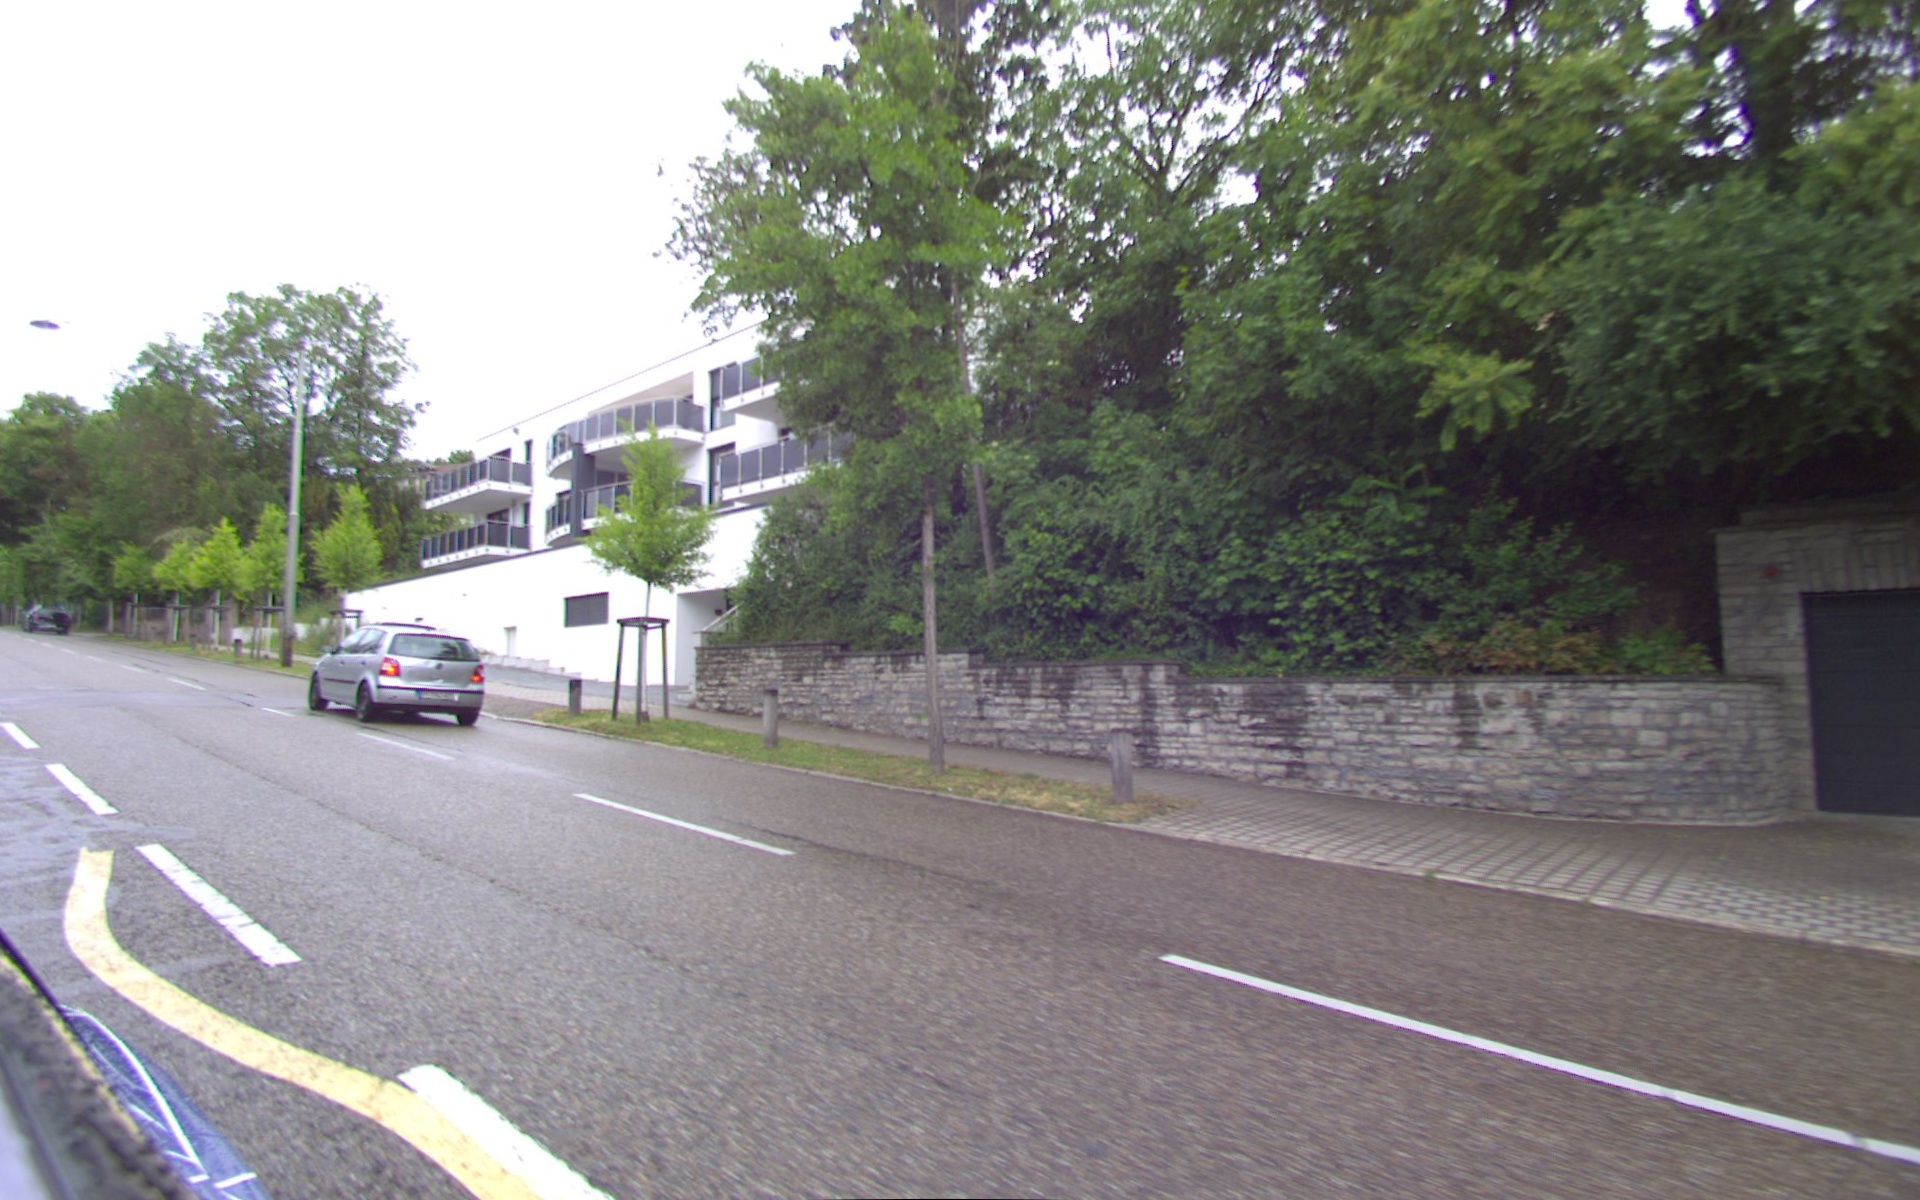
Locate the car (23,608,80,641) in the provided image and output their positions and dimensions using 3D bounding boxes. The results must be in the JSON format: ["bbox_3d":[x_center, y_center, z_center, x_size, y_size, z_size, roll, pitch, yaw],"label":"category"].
[{"bbox_3d":[-48.213,1.271,53.672,3.917,1.561,1.727,0,-7,42],"label":"car"}]

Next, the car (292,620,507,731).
[{"bbox_3d":[-8.856,1.165,15.877,3.801,1.497,1.746,-2,-8,43],"label":"car"}]
